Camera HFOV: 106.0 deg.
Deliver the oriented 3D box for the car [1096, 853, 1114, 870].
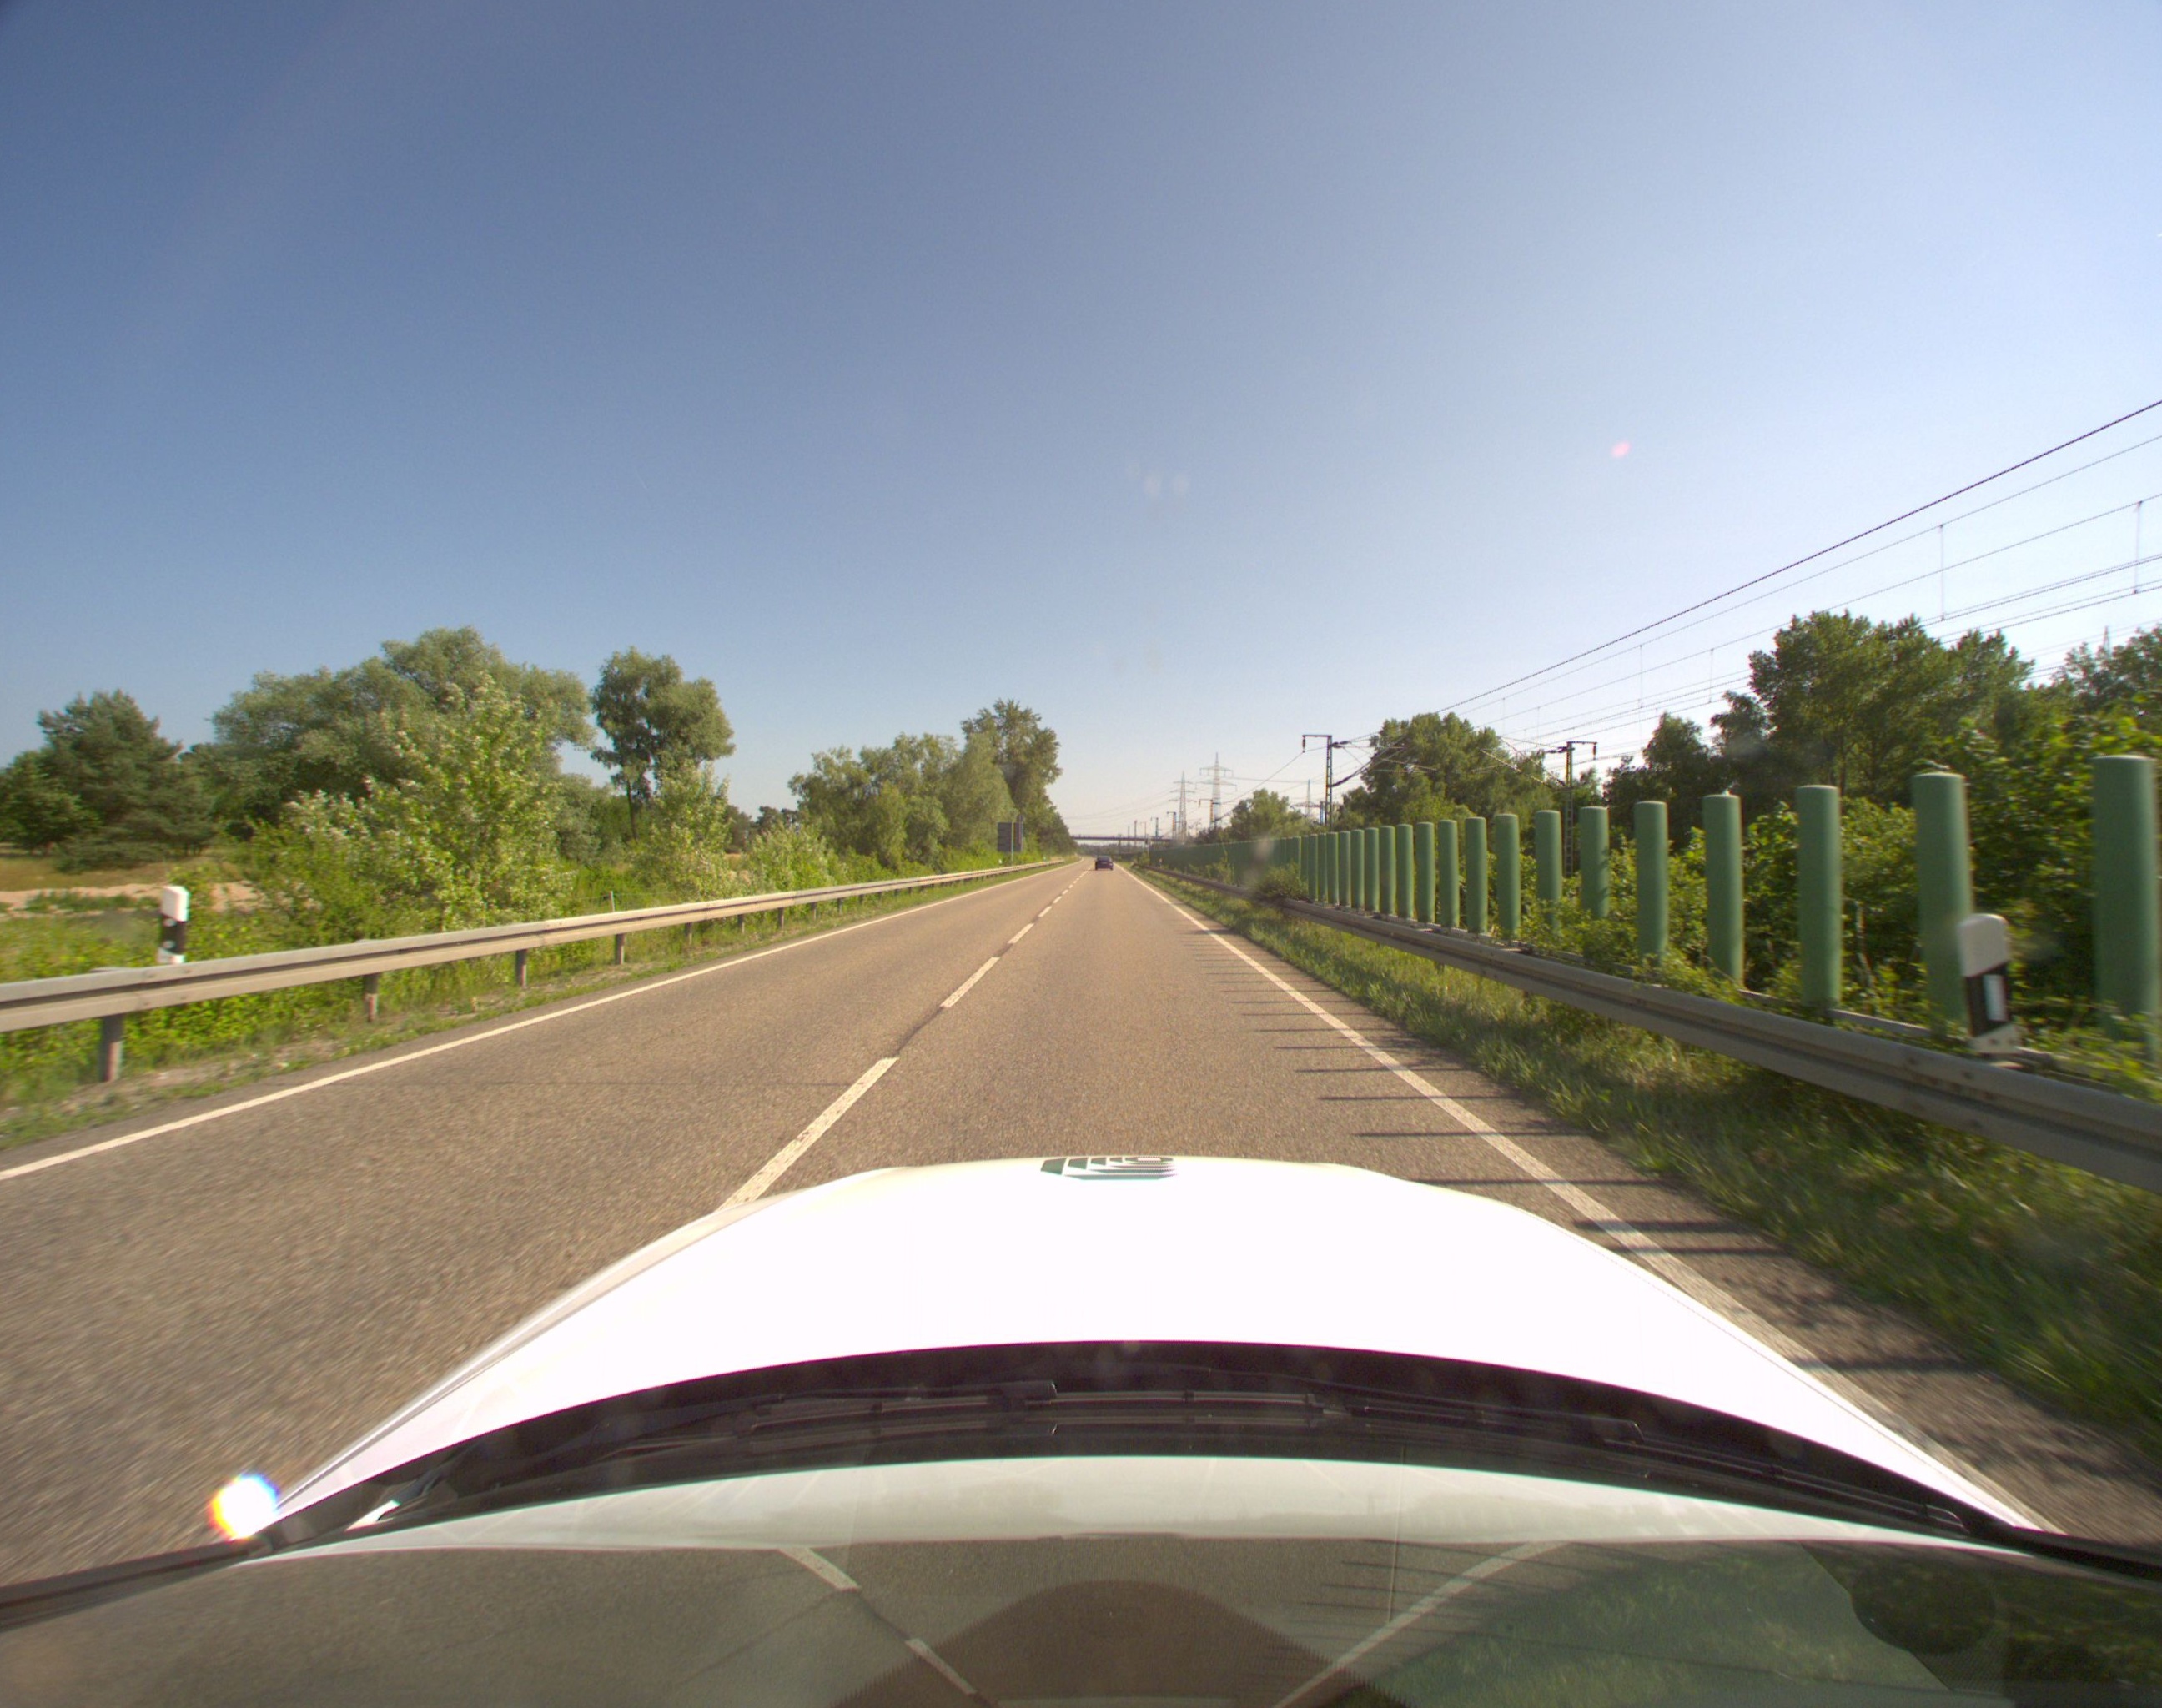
[{"bbox_3d":[2.454,0.737,83.805,1.852,1.642,4.001,-1,0,1],"label":"car"}]
